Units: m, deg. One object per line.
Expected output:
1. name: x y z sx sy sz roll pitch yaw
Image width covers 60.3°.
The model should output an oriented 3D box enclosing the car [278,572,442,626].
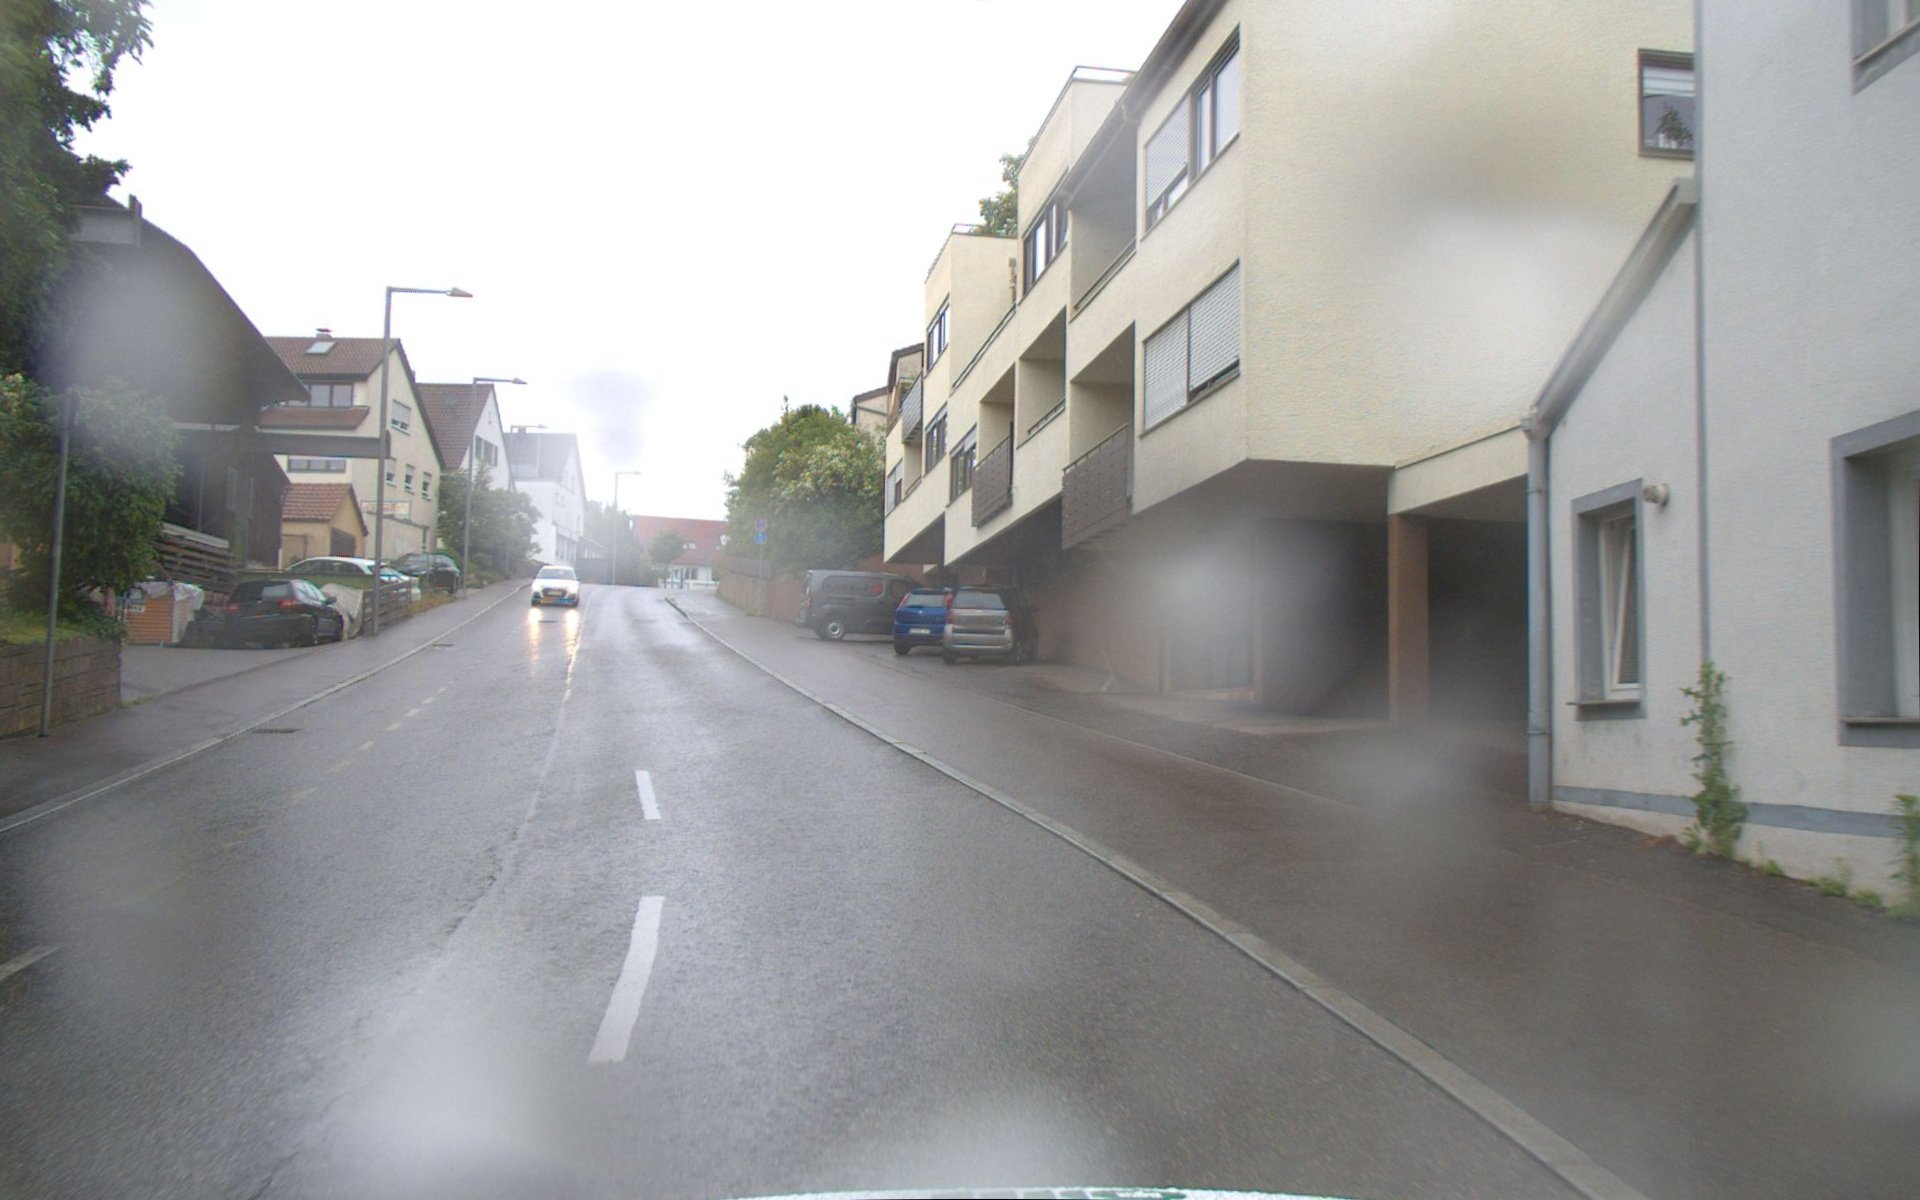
1. car: -18.695 -0.041 51.666 4.405 1.531 1.900 1 1 -1

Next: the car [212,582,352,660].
1. car: -14.312 0.390 35.158 1.860 1.466 4.435 -1 1 -11

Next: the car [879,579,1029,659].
1. car: -0.073 0.429 37.340 1.747 1.606 4.063 4 1 25

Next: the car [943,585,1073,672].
1. car: 1.073 0.565 34.548 1.744 1.606 4.070 3 1 15

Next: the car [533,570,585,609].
1. car: -15.328 -0.413 63.334 1.672 1.412 4.041 -1 1 -10

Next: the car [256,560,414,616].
1. car: -18.477 -0.353 49.013 3.906 1.531 1.900 1 1 -1

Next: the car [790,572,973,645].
1. car: -2.128 0.215 44.520 4.626 1.852 1.994 1 1 -13

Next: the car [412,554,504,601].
1. car: -19.236 -0.868 63.576 1.933 1.688 4.963 1 1 0
